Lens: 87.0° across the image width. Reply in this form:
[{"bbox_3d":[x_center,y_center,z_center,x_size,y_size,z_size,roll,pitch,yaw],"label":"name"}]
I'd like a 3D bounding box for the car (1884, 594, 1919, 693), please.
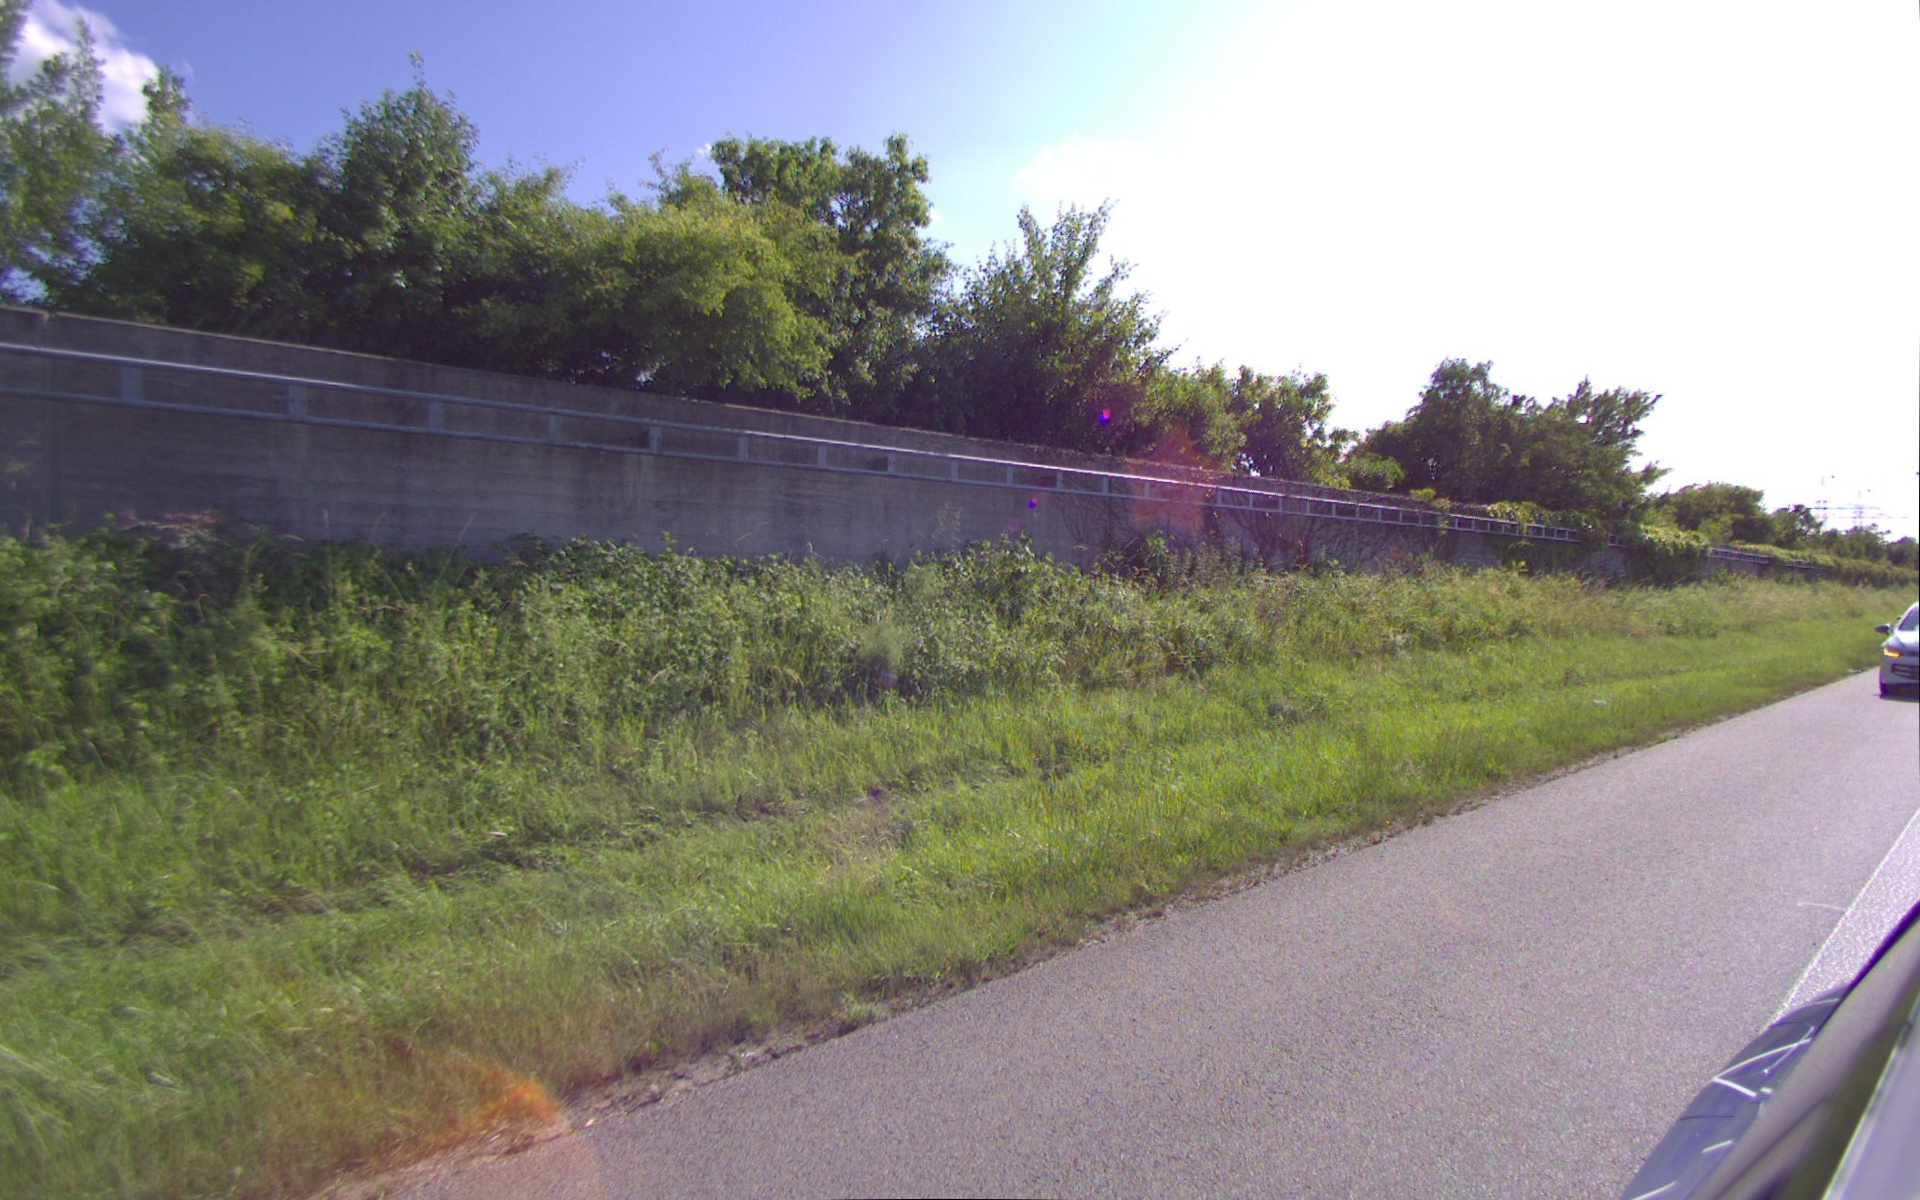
[{"bbox_3d":[15.934,0.629,15.896,4.251,1.443,1.715,0,0,-42],"label":"car"}]
